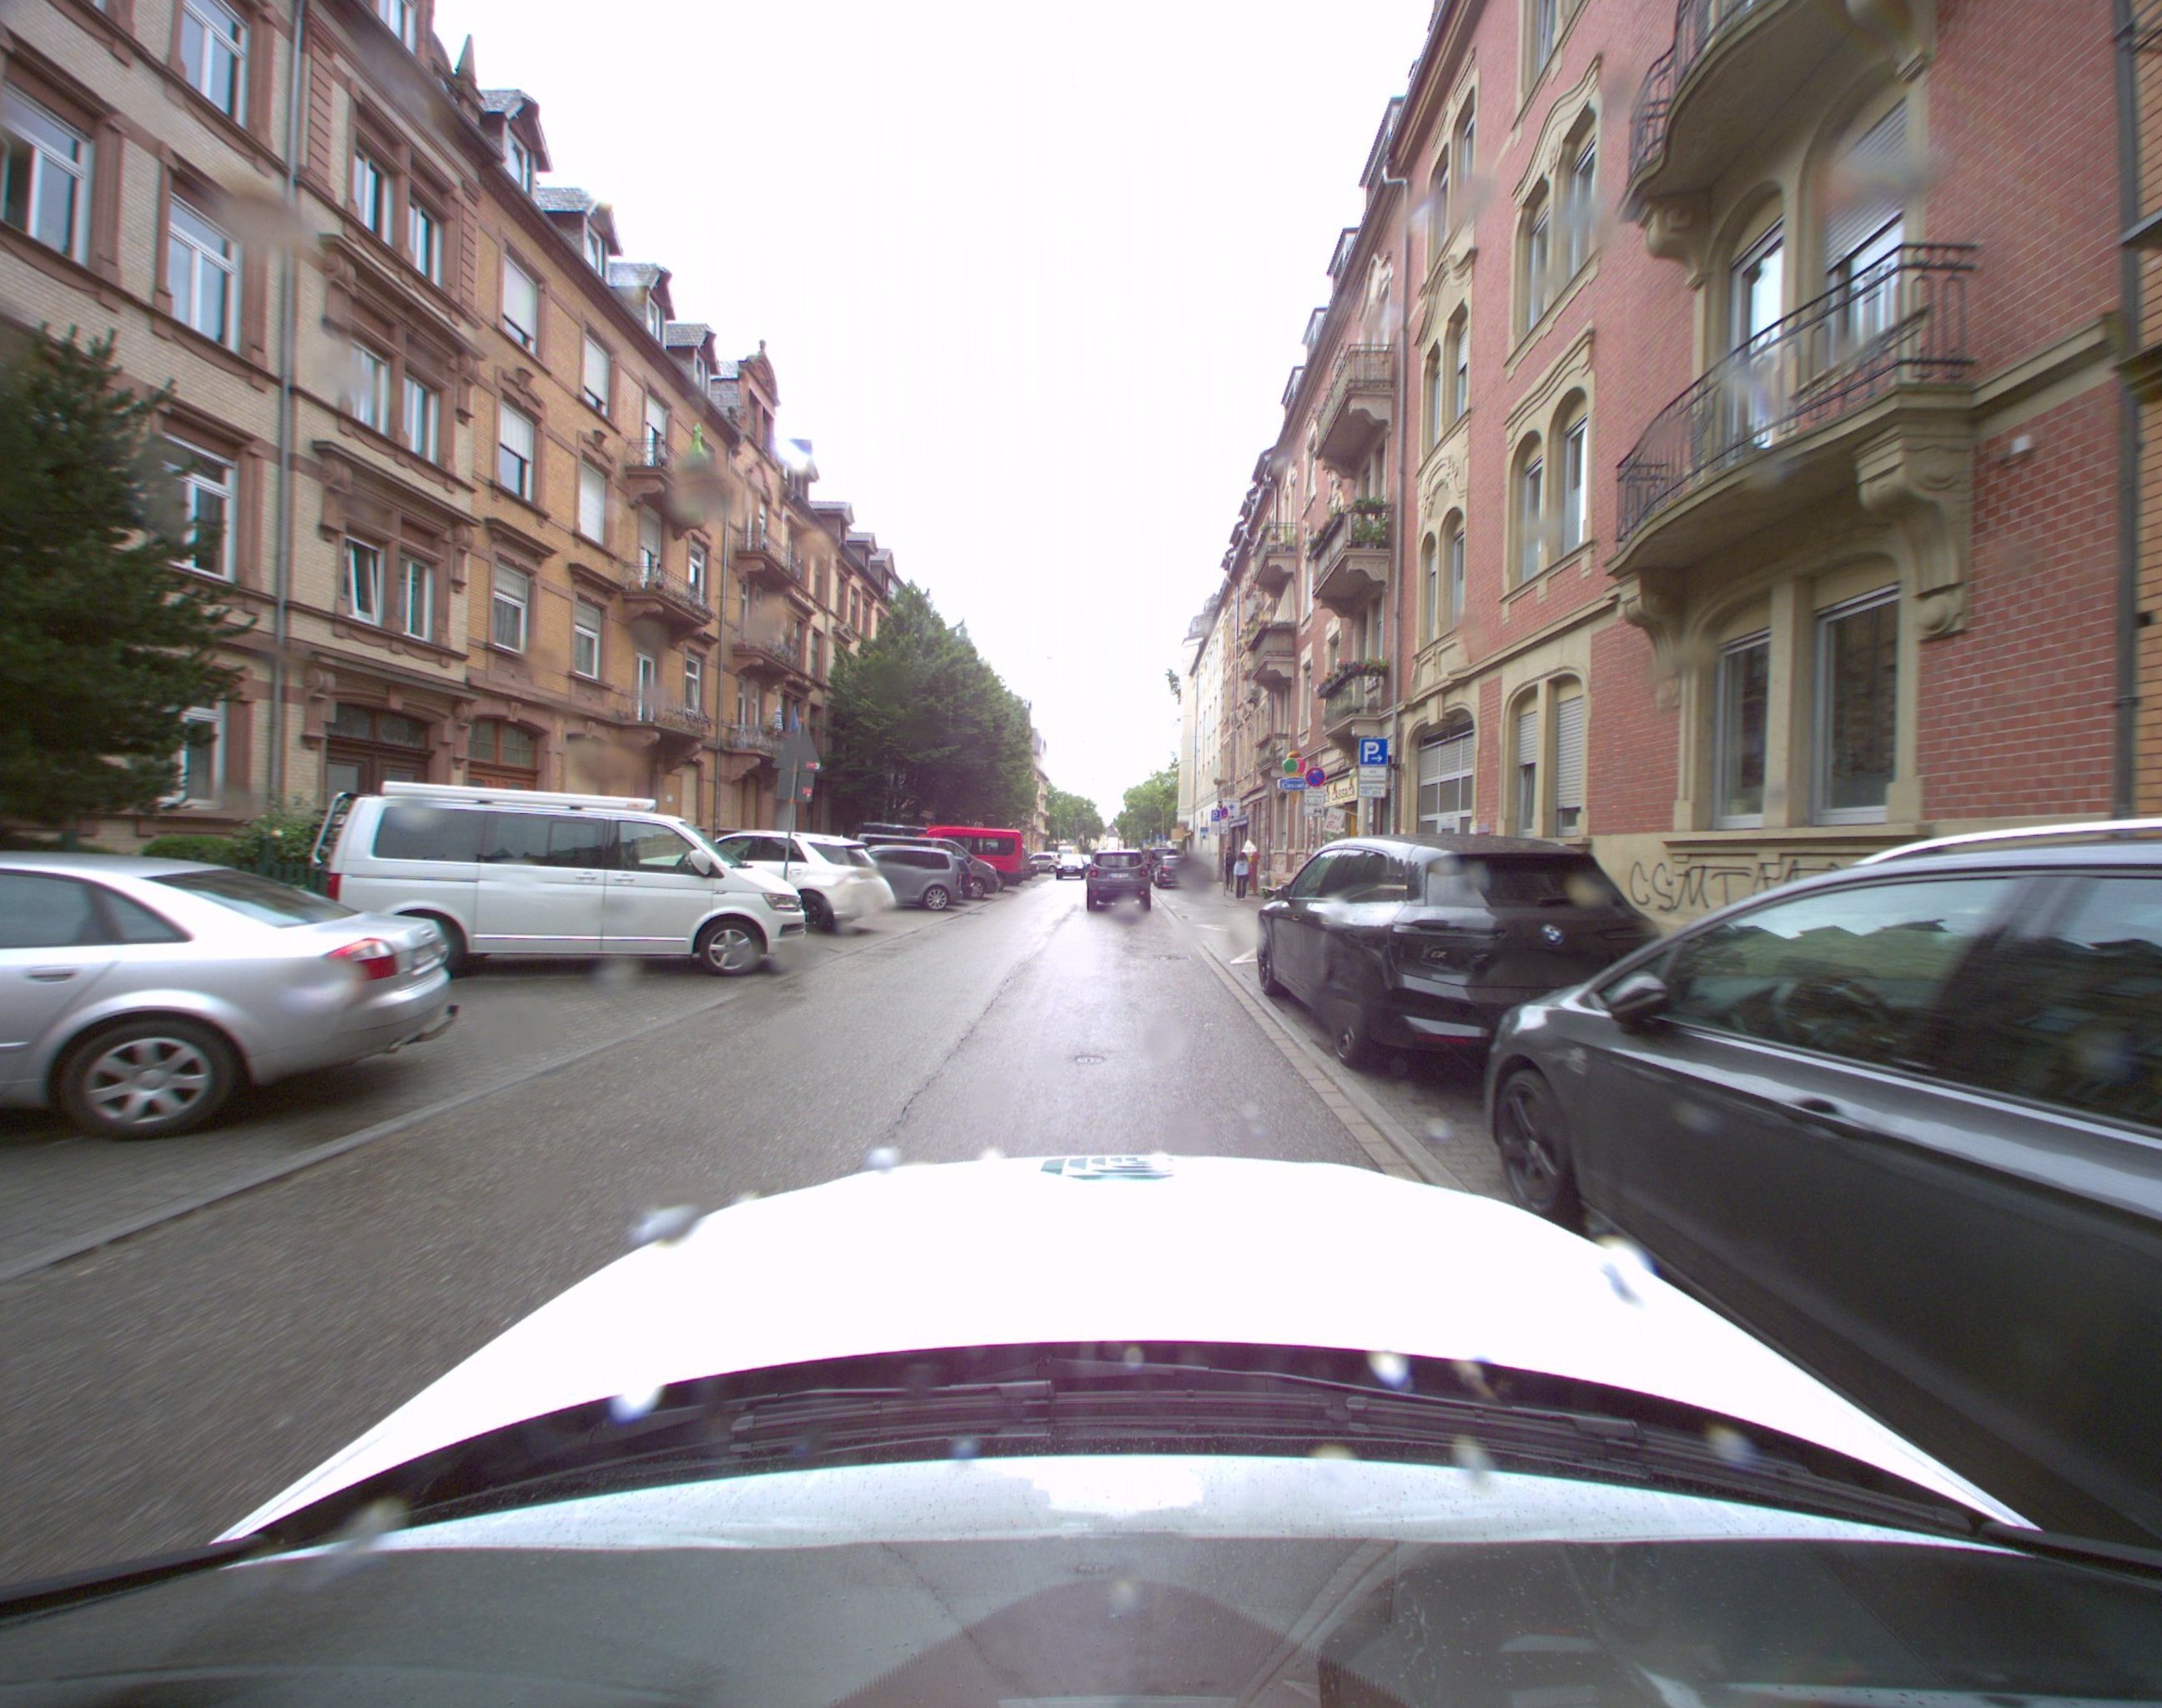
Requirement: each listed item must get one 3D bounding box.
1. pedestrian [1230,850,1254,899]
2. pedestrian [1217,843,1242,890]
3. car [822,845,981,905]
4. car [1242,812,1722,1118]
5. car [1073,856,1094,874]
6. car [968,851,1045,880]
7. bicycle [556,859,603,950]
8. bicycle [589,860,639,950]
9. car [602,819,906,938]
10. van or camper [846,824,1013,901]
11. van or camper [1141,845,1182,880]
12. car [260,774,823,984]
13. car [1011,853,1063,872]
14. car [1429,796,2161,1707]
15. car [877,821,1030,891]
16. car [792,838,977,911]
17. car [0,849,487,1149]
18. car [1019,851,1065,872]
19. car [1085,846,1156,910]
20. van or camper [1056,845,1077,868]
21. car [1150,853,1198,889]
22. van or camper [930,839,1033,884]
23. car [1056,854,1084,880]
[{"bbox_3d":[5.306,0.670,26.924,0.676,1.613,0.810,0,0,3],"label":"pedestrian"},{"bbox_3d":[6.175,0.527,33.835,0.672,1.935,0.815,-1,-4,37],"label":"pedestrian"},{"bbox_3d":[-5.312,0.615,24.076,4.357,1.504,1.743,3,0,-20],"label":"car"},{"bbox_3d":[2.840,0.662,7.211,1.986,1.779,4.828,1,0,1],"label":"car"},{"bbox_3d":[0.226,0.883,66.602,1.663,1.465,4.004,1,0,1],"label":"car"},{"bbox_3d":[-4.222,0.659,46.265,3.997,1.447,1.748,3,0,-38],"label":"car"},{"bbox_3d":[-7.329,0.695,11.945,0.408,1.175,2.026,2,0,-28],"label":"bicycle"},{"bbox_3d":[-6.904,0.709,12.097,0.545,1.175,2.026,2,0,-28],"label":"bicycle"},{"bbox_3d":[-5.963,0.421,15.411,4.562,1.785,2.546,4,0,1],"label":"car"},{"bbox_3d":[-5.027,0.291,27.044,5.032,2.349,2.326,2,0,-24],"label":"van or camper"},{"bbox_3d":[4.544,0.474,46.744,2.014,1.891,5.057,0,0,2],"label":"van or camper"},{"bbox_3d":[-5.998,0.297,9.919,5.257,2.078,1.857,2,1,-23],"label":"car"},{"bbox_3d":[-3.406,0.632,63.060,3.728,1.452,1.668,0,0,-33],"label":"car"},{"bbox_3d":[2.643,0.690,2.083,1.863,1.561,4.348,0,0,3],"label":"car"},{"bbox_3d":[-5.049,0.105,32.329,5.582,2.541,2.211,2,0,-25],"label":"car"},{"bbox_3d":[-5.219,0.547,21.619,4.451,1.630,1.830,4,0,-24],"label":"car"},{"bbox_3d":[-6.003,0.704,4.578,4.008,1.436,1.769,2,0,-27],"label":"car"},{"bbox_3d":[-3.137,0.584,65.935,3.397,1.654,1.618,0,0,-31],"label":"car"},{"bbox_3d":[1.107,0.651,23.972,1.892,1.671,4.507,1,0,1],"label":"car"},{"bbox_3d":[-1.703,0.324,99.714,2.113,2.531,6.877,-3,-2,2],"label":"van or camper"},{"bbox_3d":[4.201,0.728,37.304,1.834,1.545,4.004,1,0,1],"label":"car"},{"bbox_3d":[-4.682,0.374,38.574,4.462,1.975,1.764,2,0,-31],"label":"van or camper"},{"bbox_3d":[-0.654,0.779,50.935,1.664,1.559,4.003,1,0,0],"label":"car"}]
